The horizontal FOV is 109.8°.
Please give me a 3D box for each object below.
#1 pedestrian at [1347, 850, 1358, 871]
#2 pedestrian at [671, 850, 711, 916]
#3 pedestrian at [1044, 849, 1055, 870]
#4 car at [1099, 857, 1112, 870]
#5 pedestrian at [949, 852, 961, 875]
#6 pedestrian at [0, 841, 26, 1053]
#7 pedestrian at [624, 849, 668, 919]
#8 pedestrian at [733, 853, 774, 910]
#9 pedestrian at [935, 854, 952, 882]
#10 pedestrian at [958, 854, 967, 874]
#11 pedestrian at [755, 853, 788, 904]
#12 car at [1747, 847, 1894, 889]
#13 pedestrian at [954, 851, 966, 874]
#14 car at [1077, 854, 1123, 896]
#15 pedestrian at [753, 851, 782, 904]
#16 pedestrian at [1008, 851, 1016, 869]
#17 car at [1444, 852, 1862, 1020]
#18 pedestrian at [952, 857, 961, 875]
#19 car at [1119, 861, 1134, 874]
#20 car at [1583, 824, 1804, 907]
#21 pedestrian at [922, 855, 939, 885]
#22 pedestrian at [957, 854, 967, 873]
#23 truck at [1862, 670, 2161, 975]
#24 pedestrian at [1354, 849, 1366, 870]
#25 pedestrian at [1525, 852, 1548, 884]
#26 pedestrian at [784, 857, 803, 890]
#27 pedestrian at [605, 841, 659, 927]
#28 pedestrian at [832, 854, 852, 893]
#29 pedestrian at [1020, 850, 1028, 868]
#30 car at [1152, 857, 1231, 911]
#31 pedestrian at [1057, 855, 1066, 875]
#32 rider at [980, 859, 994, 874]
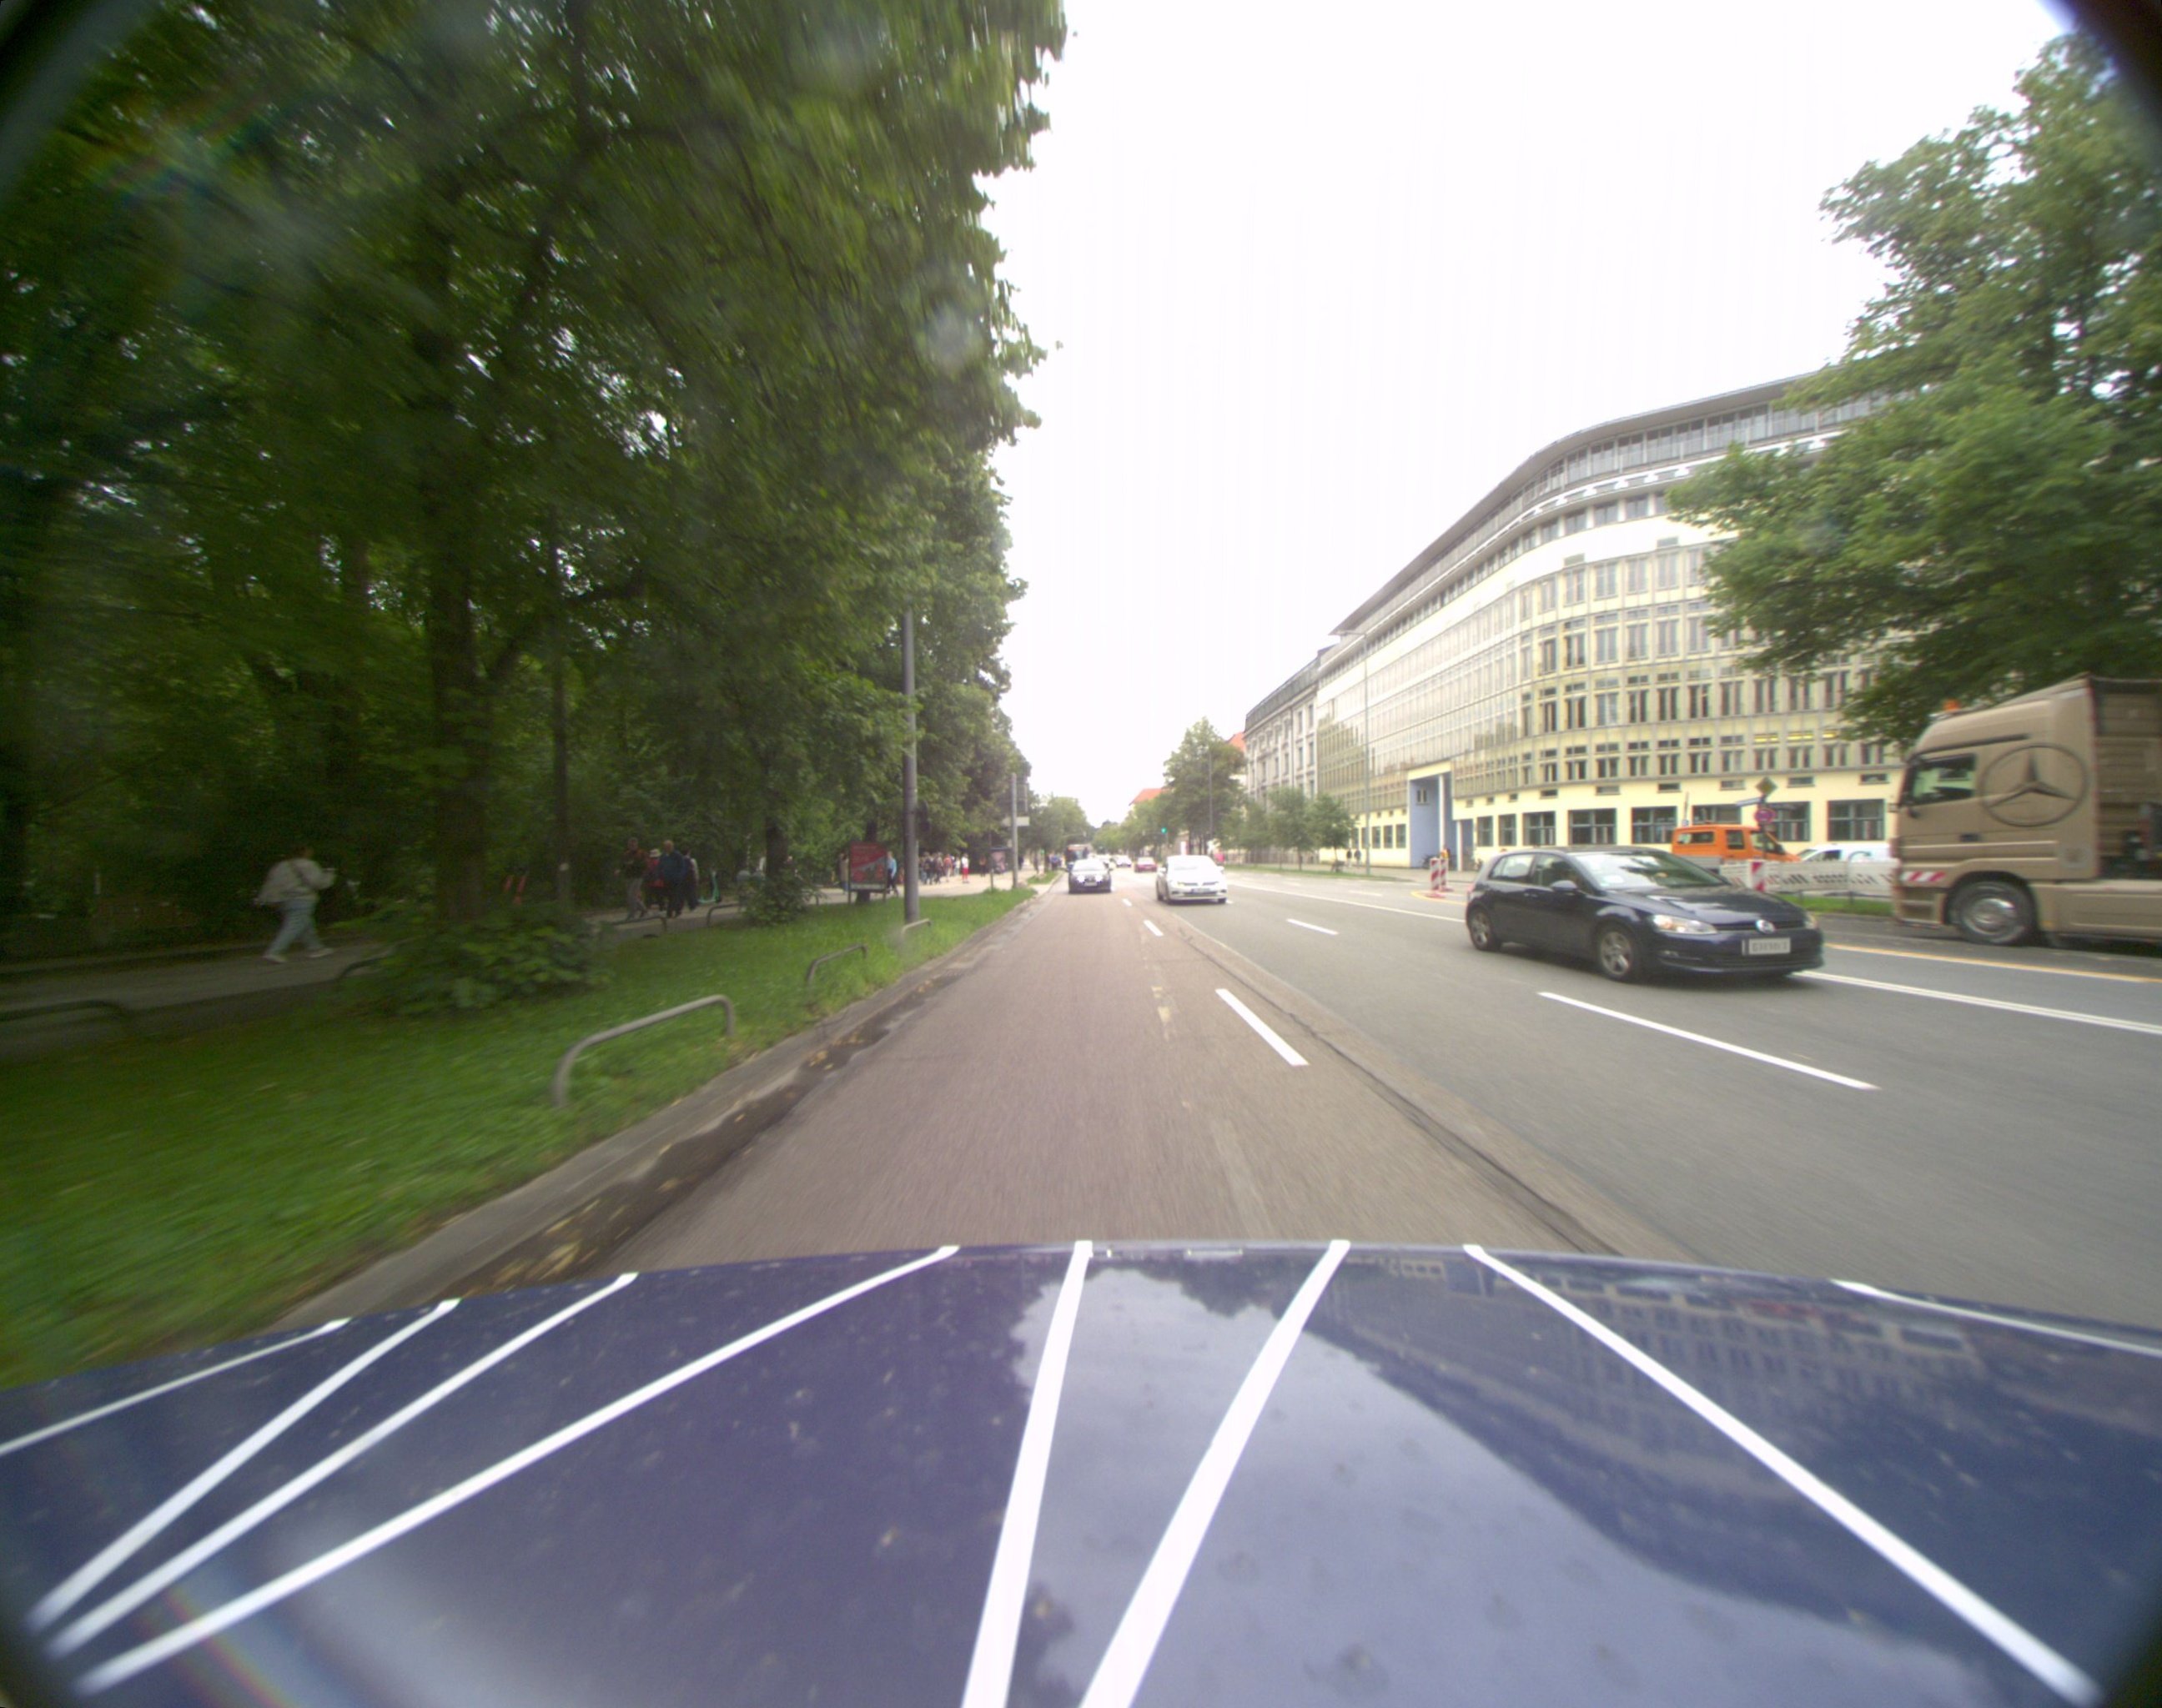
[{"bbox_3d":[23.419,0.546,65.515,0.617,1.766,0.836,-2,1,0],"label":"pedestrian"},{"bbox_3d":[-9.782,0.726,19.077,0.682,1.628,0.601,0,1,1],"label":"pedestrian"},{"bbox_3d":[-2.879,0.524,69.984,0.804,1.870,0.545,-2,1,36],"label":"pedestrian"},{"bbox_3d":[3.175,1.238,98.561,1.638,1.562,3.945,-1,0,0],"label":"car"},{"bbox_3d":[-10.116,0.755,61.034,0.814,1.757,0.729,-2,1,2],"label":"pedestrian"},{"bbox_3d":[-8.895,0.749,5.775,0.609,1.671,0.754,-2,1,4],"label":"pedestrian"},{"bbox_3d":[-10.477,0.717,18.334,0.683,1.628,0.663,-2,1,-12],"label":"pedestrian"},{"bbox_3d":[-9.227,0.759,21.439,0.682,1.557,0.872,-2,1,1],"label":"pedestrian"},{"bbox_3d":[-7.836,0.821,43.428,0.694,1.568,0.610,-3,1,-35],"label":"pedestrian"},{"bbox_3d":[-10.550,0.919,67.488,0.637,1.757,0.533,-2,1,2],"label":"pedestrian"},{"bbox_3d":[-9.277,0.723,22.804,0.682,1.506,0.562,-2,1,1],"label":"pedestrian"},{"bbox_3d":[32.512,0.622,33.583,4.318,1.739,1.874,-1,0,28],"label":"car"},{"bbox_3d":[-9.842,0.690,61.855,0.814,1.818,0.729,-2,1,2],"label":"pedestrian"},{"bbox_3d":[0.741,0.850,32.559,1.797,1.627,4.274,-1,0,-1],"label":"car"},{"bbox_3d":[-9.397,0.691,22.811,0.485,1.557,0.573,-2,1,15],"label":"pedestrian"},{"bbox_3d":[-7.471,0.670,81.840,0.710,1.904,0.956,-2,1,0],"label":"pedestrian"},{"bbox_3d":[6.278,0.748,9.122,1.696,1.507,4.338,-1,0,-1],"label":"car"},{"bbox_3d":[-10.483,1.008,63.911,0.637,1.498,0.533,-2,1,2],"label":"pedestrian"},{"bbox_3d":[5.819,1.676,97.518,1.638,1.562,3.945,-1,0,0],"label":"car"},{"bbox_3d":[19.891,0.349,24.828,5.697,2.521,2.156,-1,0,-4],"label":"car"},{"bbox_3d":[-8.545,0.900,43.201,0.694,1.642,0.610,-3,1,-33],"label":"pedestrian"},{"bbox_3d":[-10.439,0.813,66.705,0.637,1.617,0.533,-2,1,2],"label":"pedestrian"},{"bbox_3d":[14.825,-0.438,8.978,2.924,3.752,7.662,-2,0,-4],"label":"truck"},{"bbox_3d":[24.059,0.499,65.528,0.617,1.766,0.836,-2,1,0],"label":"pedestrian"},{"bbox_3d":[24.672,0.752,41.185,0.992,1.723,0.816,-2,1,31],"label":"pedestrian"},{"bbox_3d":[-14.838,0.993,39.213,0.694,1.686,0.610,-3,1,-35],"label":"pedestrian"},{"bbox_3d":[-9.773,0.631,16.559,0.589,1.812,0.850,-2,1,1],"label":"pedestrian"},{"bbox_3d":[-11.676,0.927,37.108,0.694,1.862,0.610,-3,1,-35],"label":"pedestrian"},{"bbox_3d":[-6.116,0.573,82.158,0.710,1.904,0.956,-2,1,0],"label":"pedestrian"},{"bbox_3d":[3.324,0.866,23.649,1.797,1.439,4.274,-1,0,-1],"label":"car"},{"bbox_3d":[-1.833,1.019,71.822,0.710,1.798,0.639,-2,1,0],"label":"pedestrian"},{"bbox_3d":[-7.268,0.947,58.862,0.766,1.105,1.244,-2,0,5],"label":"rider"}]
